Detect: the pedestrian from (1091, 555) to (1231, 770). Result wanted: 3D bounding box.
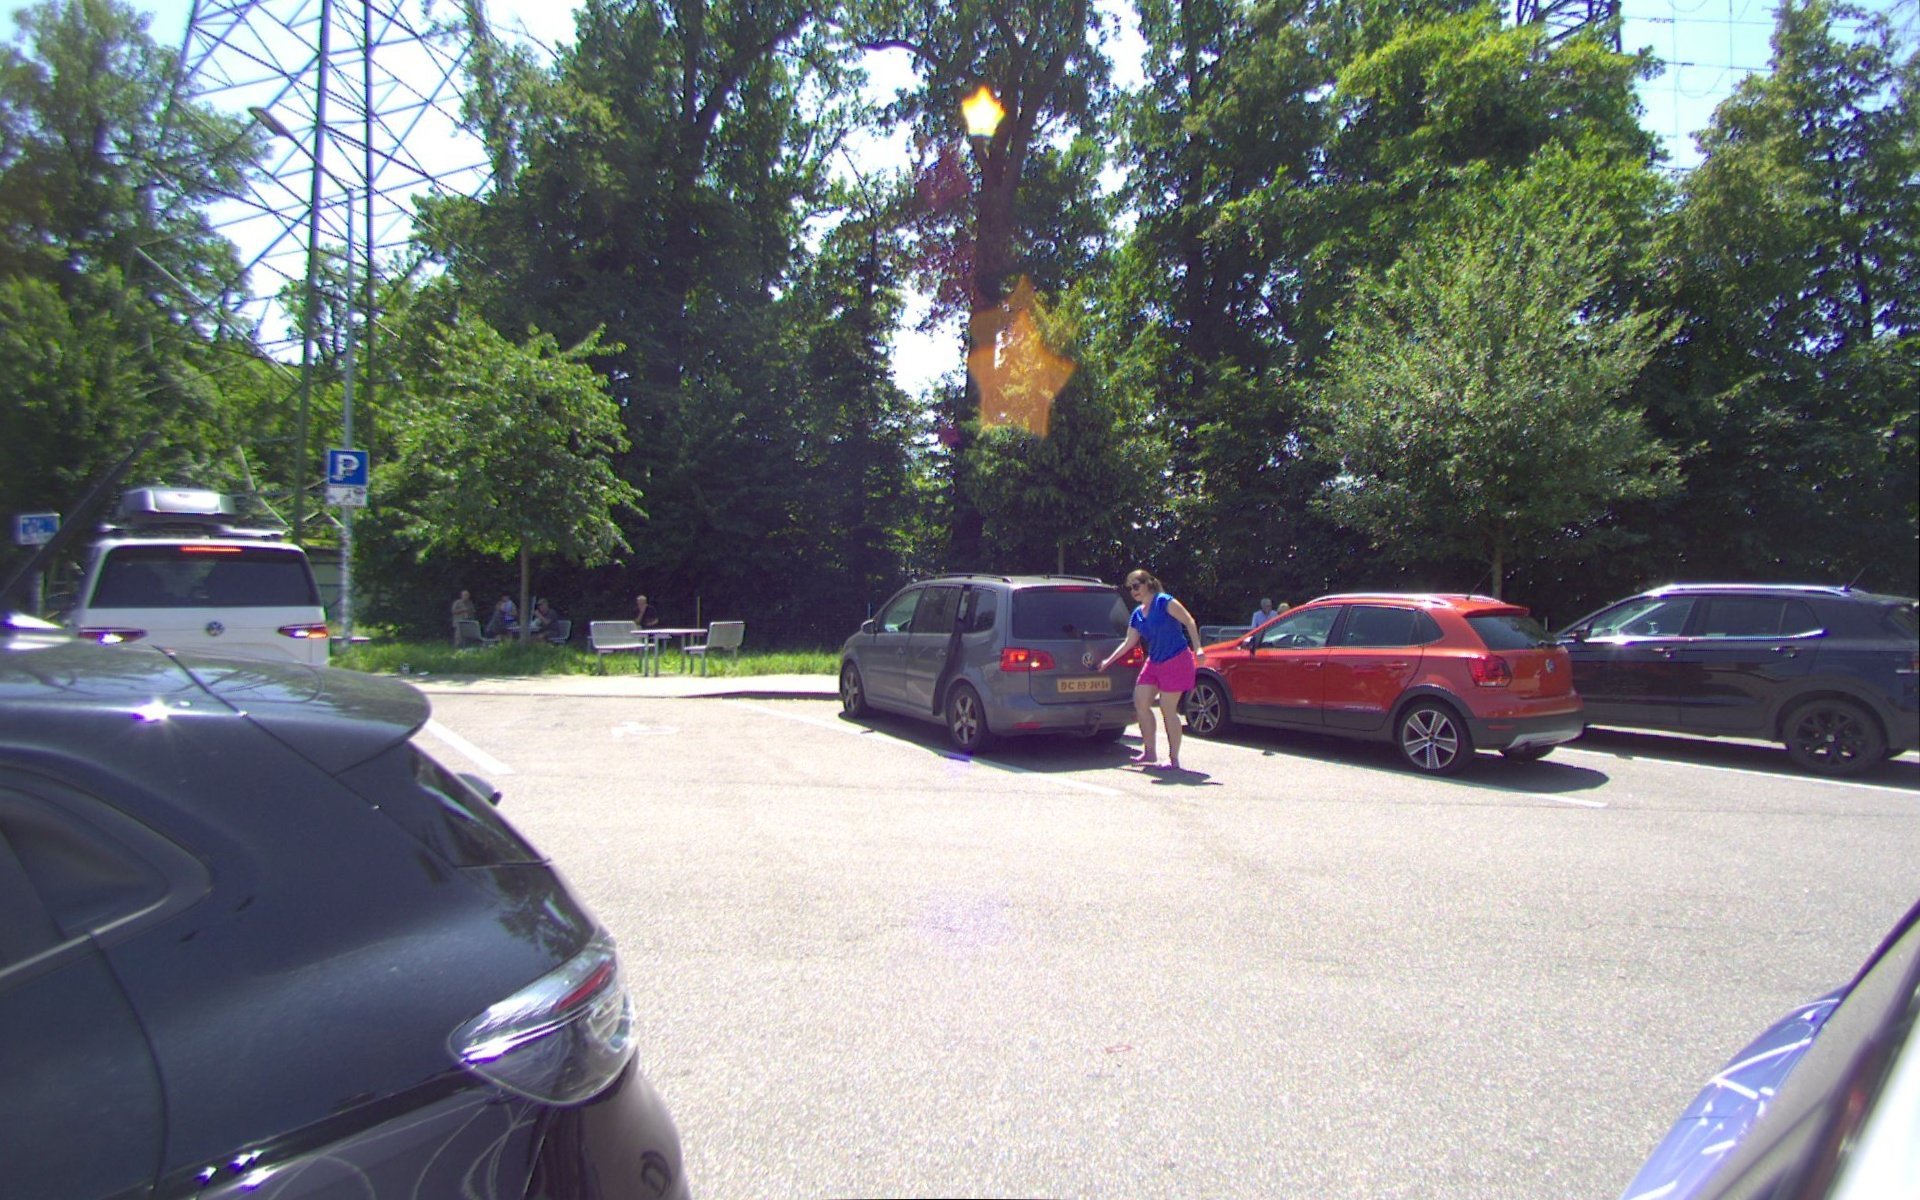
[{"bbox_3d":[1.698,0.490,8.598,0.720,1.703,0.920,0,0,-36],"label":"pedestrian"}]

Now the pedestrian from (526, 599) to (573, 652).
[{"bbox_3d":[-9.586,0.588,23.635,0.873,1.192,0.668,0,0,-41],"label":"pedestrian"}]

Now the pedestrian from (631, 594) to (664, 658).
[{"bbox_3d":[-6.563,0.533,21.280,0.655,1.311,0.786,0,0,-16],"label":"pedestrian"}]

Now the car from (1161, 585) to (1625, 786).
[{"bbox_3d":[3.864,0.616,9.654,1.687,1.484,3.793,0,1,-32],"label":"car"}]

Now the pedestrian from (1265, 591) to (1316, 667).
[{"bbox_3d":[5.794,0.495,17.767,0.657,1.311,0.783,0,0,3],"label":"pedestrian"}]

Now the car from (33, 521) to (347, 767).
[{"bbox_3d":[-7.917,0.304,10.222,4.550,1.936,1.882,1,1,44],"label":"car"}]

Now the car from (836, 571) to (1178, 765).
[{"bbox_3d":[0.264,0.524,10.525,1.713,1.601,3.996,0,1,-29],"label":"car"}]

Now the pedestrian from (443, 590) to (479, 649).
[{"bbox_3d":[-12.269,0.477,24.890,0.657,1.422,0.649,0,0,-39],"label":"pedestrian"}]

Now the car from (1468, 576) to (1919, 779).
[{"bbox_3d":[7.191,0.581,9.713,1.690,1.593,3.787,0,1,-39],"label":"car"}]

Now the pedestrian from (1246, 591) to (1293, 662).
[{"bbox_3d":[5.799,0.485,18.976,0.657,1.311,0.783,0,0,3],"label":"pedestrian"}]

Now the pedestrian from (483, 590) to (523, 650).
[{"bbox_3d":[-11.049,0.472,24.474,0.664,1.422,0.643,0,0,32],"label":"pedestrian"}]

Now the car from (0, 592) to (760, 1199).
[{"bbox_3d":[-2.195,0.725,0.607,1.737,1.501,3.757,0,-1,44],"label":"car"}]

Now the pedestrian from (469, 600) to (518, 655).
[{"bbox_3d":[-10.503,0.601,22.781,0.873,1.192,0.668,0,0,-41],"label":"pedestrian"}]
